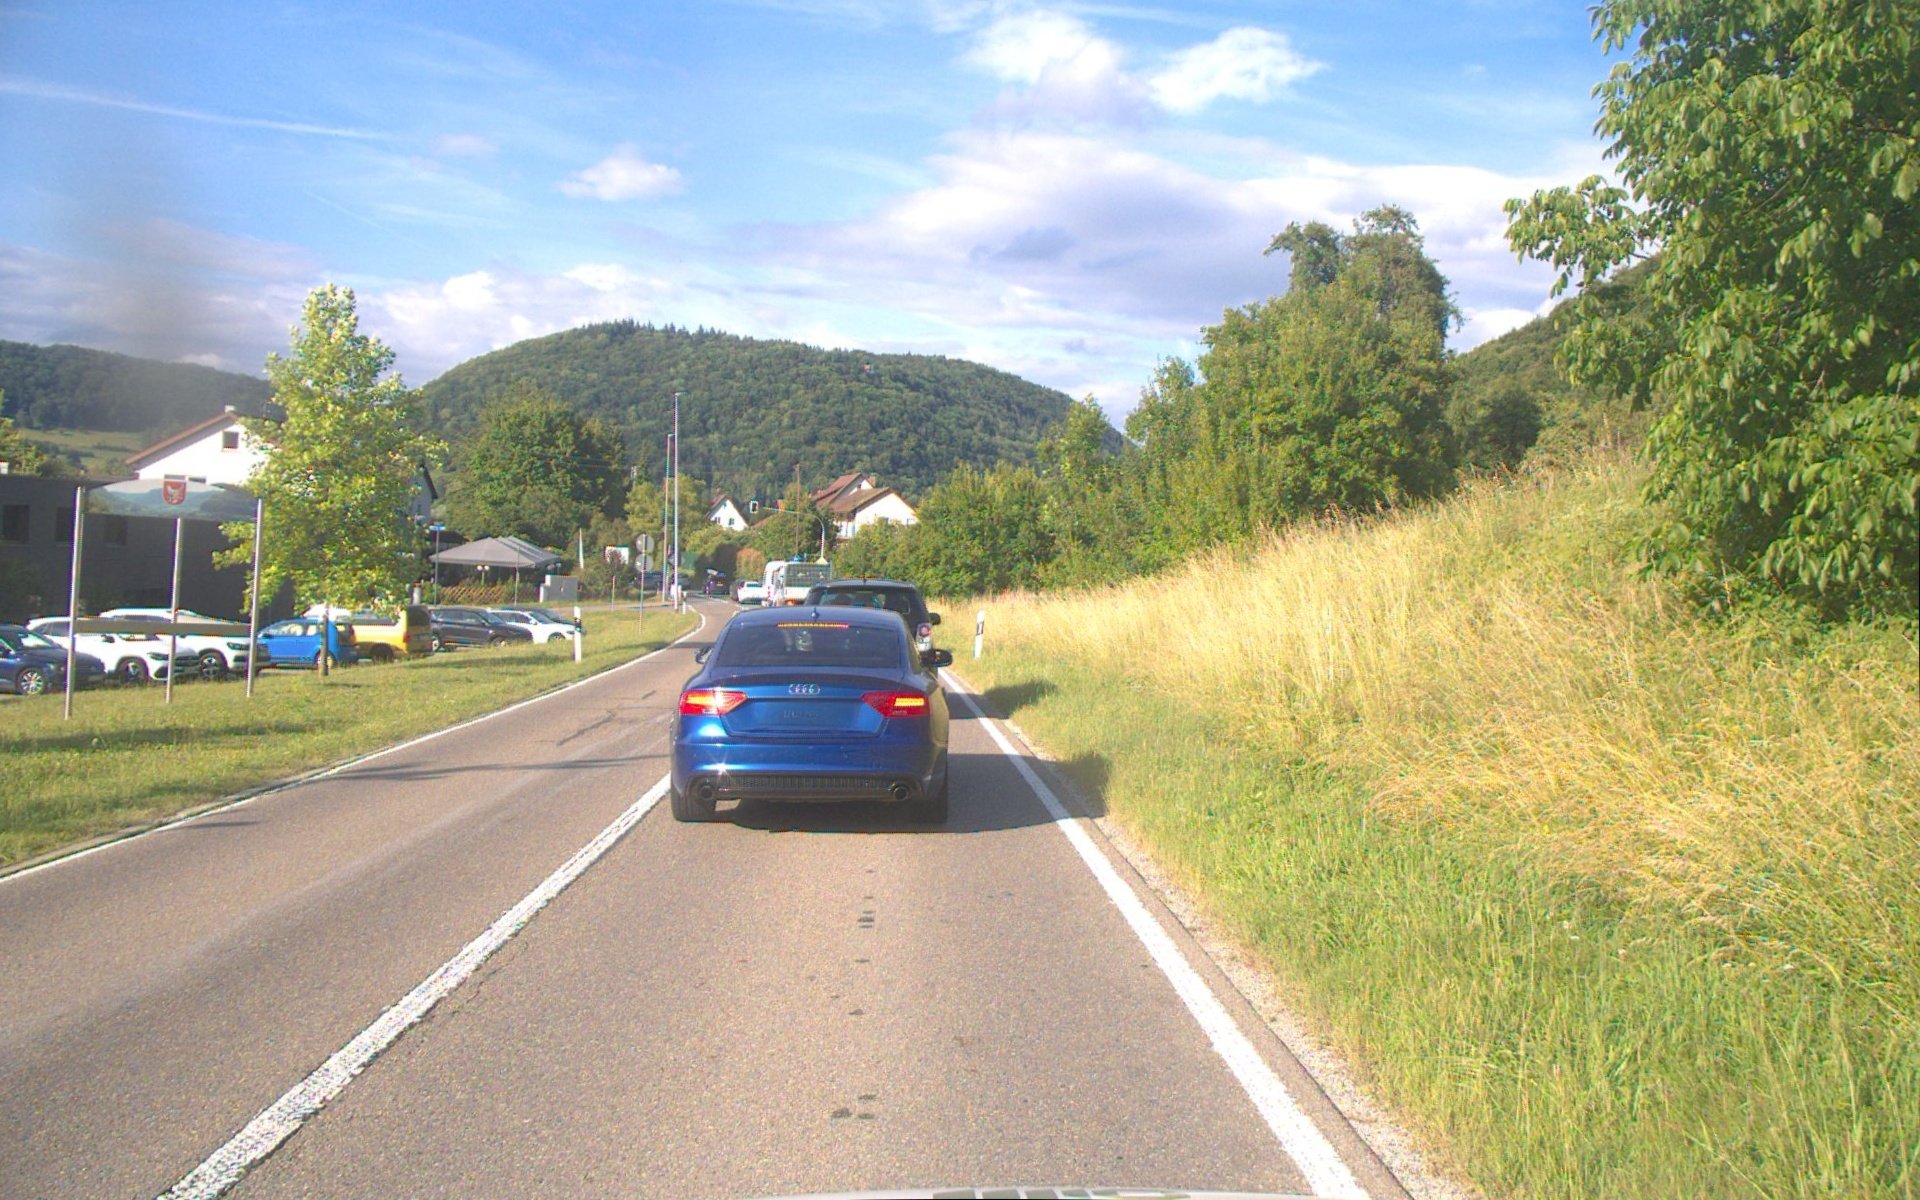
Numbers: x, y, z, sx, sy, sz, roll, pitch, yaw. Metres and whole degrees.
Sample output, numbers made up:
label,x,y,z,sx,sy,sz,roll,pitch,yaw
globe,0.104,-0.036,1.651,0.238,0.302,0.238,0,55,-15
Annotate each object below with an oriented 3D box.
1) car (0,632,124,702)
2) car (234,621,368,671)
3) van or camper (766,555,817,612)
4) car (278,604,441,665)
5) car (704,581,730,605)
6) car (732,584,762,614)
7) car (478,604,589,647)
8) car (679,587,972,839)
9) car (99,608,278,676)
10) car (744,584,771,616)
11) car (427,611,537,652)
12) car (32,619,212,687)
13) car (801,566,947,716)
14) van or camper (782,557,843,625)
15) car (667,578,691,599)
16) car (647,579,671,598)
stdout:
label,x,y,z,sx,sy,sz,roll,pitch,yaw
car,-20.692,1.462,36.688,3.547,1.429,1.598,0,1,8
car,-19.538,1.357,49.144,3.300,1.397,1.660,0,0,1
van or camper,-8.466,-0.797,82.590,2.238,2.761,5.755,0,0,-9
car,-18.770,1.080,51.763,4.456,1.846,1.843,0,0,8
car,-20.256,-0.561,137.839,1.649,1.958,3.983,0,0,-15
car,-14.658,-0.062,113.739,1.631,1.958,3.987,0,0,-13
car,-17.031,1.021,66.085,3.949,1.689,1.657,0,0,8
car,-0.925,0.671,11.543,1.708,1.476,3.514,1,0,-4
car,-20.120,1.085,43.198,3.990,1.702,1.598,0,0,8
car,-13.006,-0.001,106.086,1.629,1.958,3.991,0,0,-9
car,-17.785,1.161,61.607,3.633,1.464,1.510,0,0,8
car,-20.159,1.261,39.850,3.588,1.519,1.598,0,2,8
car,-1.095,0.465,20.573,1.613,1.653,3.514,2,0,-4
van or camper,-5.810,-0.330,64.512,2.014,2.549,5.799,0,0,-9
car,-26.497,-1.061,156.066,1.651,1.958,3.979,0,0,-18
car,-31.176,-1.210,171.101,1.654,1.958,3.973,0,0,-22
